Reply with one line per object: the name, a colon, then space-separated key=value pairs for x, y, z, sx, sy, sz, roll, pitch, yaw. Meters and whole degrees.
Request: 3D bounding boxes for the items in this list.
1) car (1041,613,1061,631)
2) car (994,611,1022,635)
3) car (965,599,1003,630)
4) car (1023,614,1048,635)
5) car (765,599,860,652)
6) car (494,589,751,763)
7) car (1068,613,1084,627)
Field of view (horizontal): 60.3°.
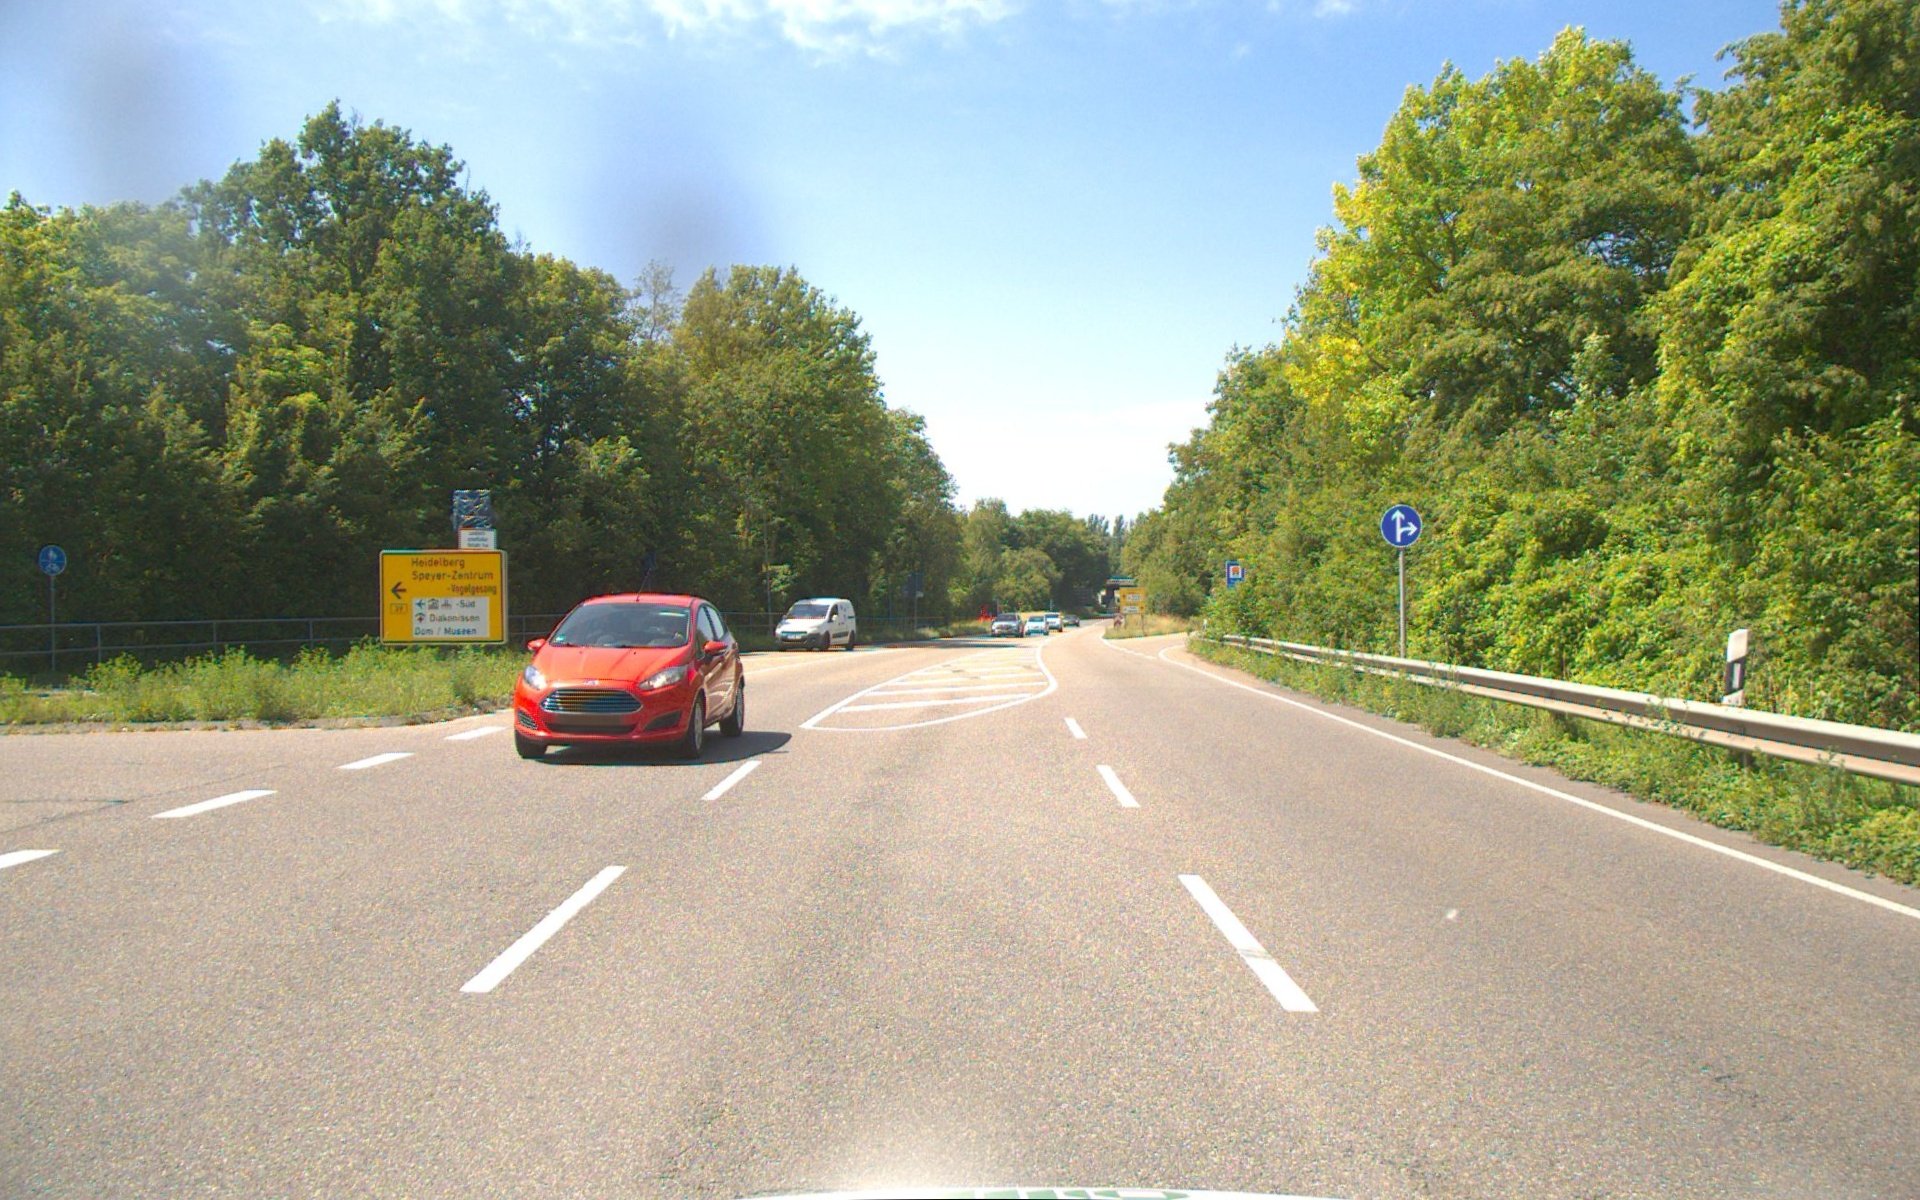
car: x=8.297 y=1.957 z=150.558 sx=1.683 sy=1.555 sz=3.712 roll=0 pitch=0 yaw=6
car: x=3.300 y=1.583 z=113.009 sx=1.642 sy=1.554 sz=4.003 roll=0 pitch=0 yaw=5
car: x=2.591 y=1.511 z=178.206 sx=1.971 sy=3.282 sz=4.763 roll=0 pitch=0 yaw=-29
car: x=5.927 y=1.913 z=129.070 sx=1.641 sy=1.554 sz=4.003 roll=0 pitch=0 yaw=7
car: x=-5.066 y=0.869 z=57.484 sx=1.951 sy=1.760 sz=4.277 roll=0 pitch=0 yaw=14
car: x=-3.143 y=0.660 z=16.122 sx=1.773 sy=1.483 sz=3.757 roll=0 pitch=0 yaw=-1
car: x=13.194 y=2.230 z=188.387 sx=1.683 sy=1.535 sz=3.712 roll=0 pitch=0 yaw=6
